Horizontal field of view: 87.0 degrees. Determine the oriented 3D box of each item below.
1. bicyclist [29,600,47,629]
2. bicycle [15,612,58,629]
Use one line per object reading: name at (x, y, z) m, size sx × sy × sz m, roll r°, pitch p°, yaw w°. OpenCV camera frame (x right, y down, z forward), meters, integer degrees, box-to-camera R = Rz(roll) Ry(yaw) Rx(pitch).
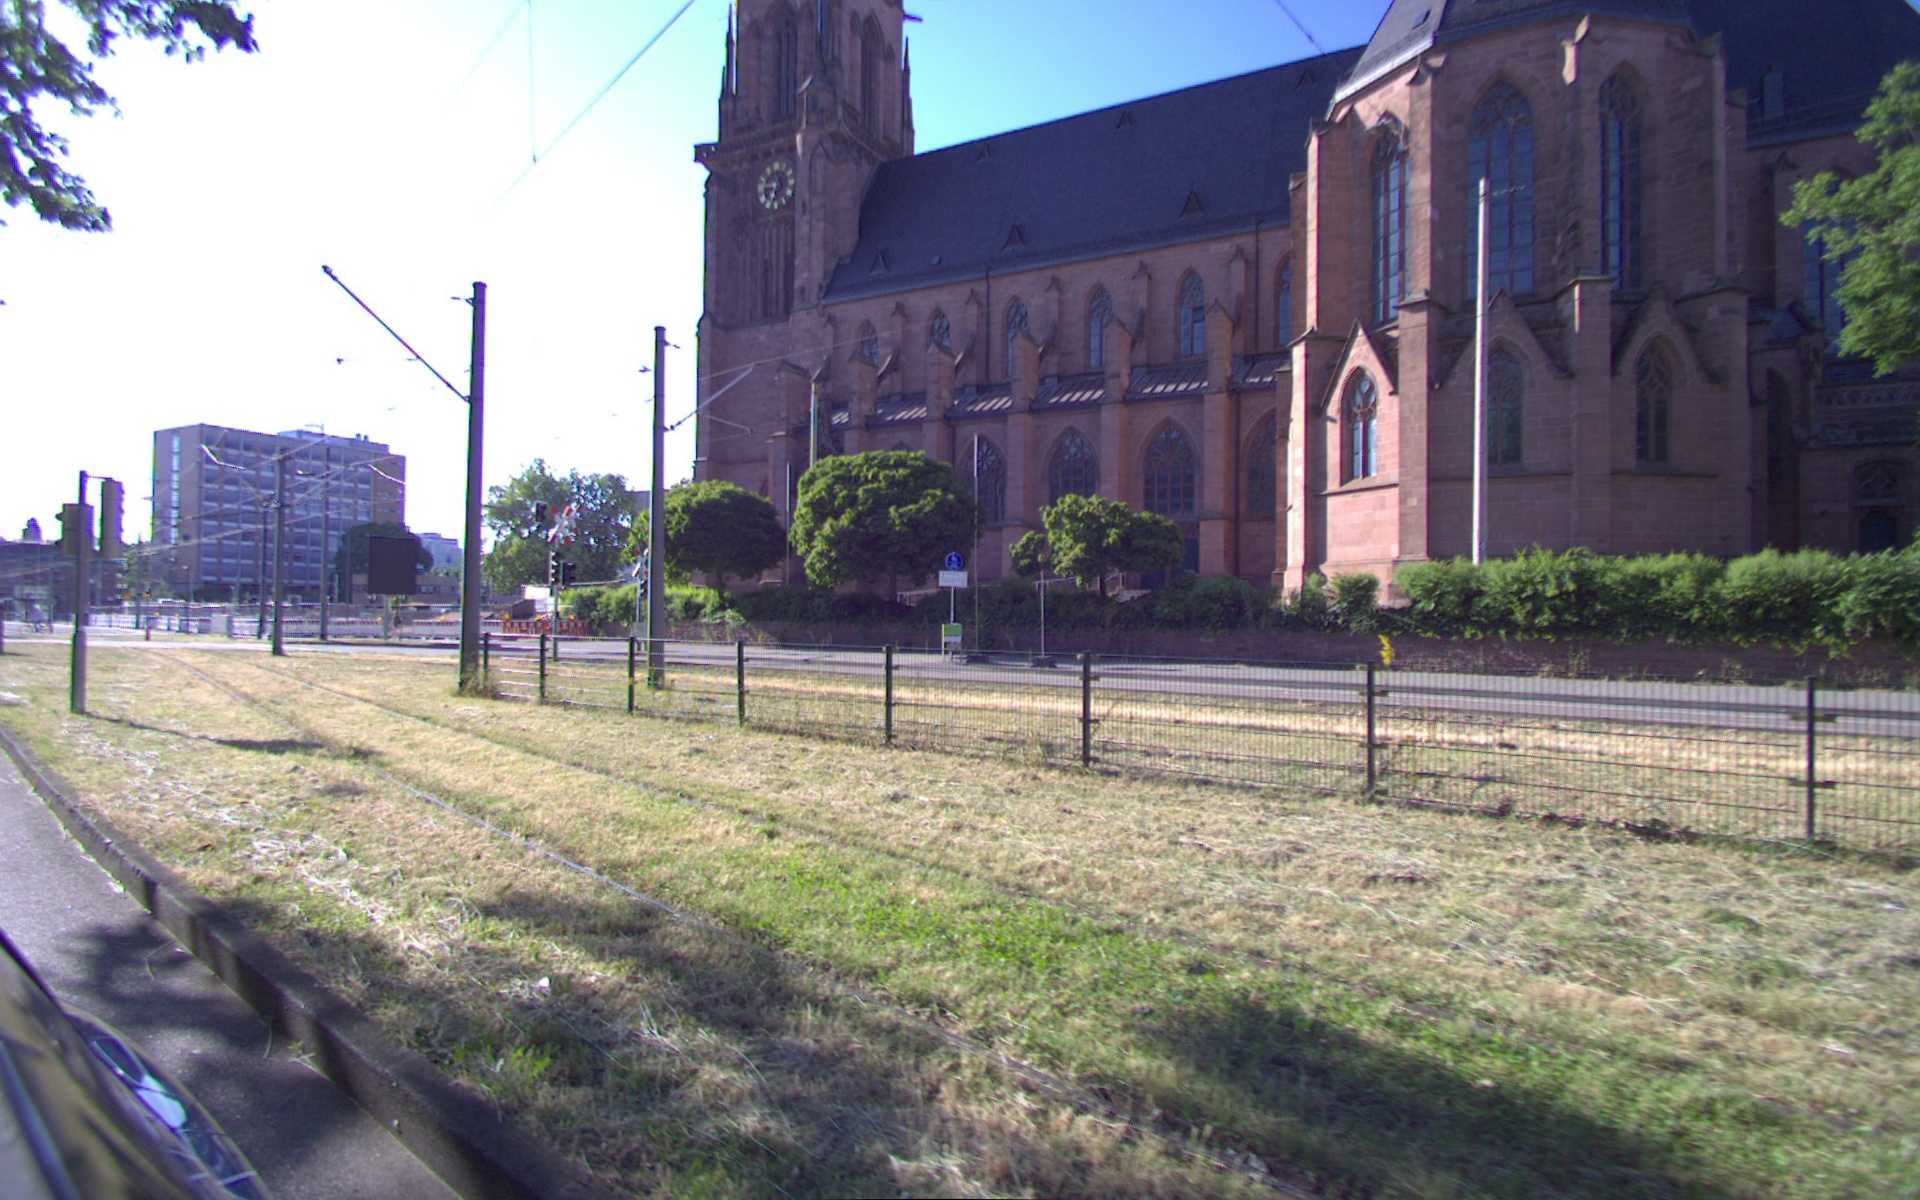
bicyclist at (-61.294, 0.958, 67.309) m, size 0.763 × 1.886 × 0.612 m, roll -1°, pitch 0°, yaw -32°
bicycle at (-61.364, 1.366, 67.266) m, size 2.032 × 1.091 × 0.612 m, roll -1°, pitch 0°, yaw -32°
